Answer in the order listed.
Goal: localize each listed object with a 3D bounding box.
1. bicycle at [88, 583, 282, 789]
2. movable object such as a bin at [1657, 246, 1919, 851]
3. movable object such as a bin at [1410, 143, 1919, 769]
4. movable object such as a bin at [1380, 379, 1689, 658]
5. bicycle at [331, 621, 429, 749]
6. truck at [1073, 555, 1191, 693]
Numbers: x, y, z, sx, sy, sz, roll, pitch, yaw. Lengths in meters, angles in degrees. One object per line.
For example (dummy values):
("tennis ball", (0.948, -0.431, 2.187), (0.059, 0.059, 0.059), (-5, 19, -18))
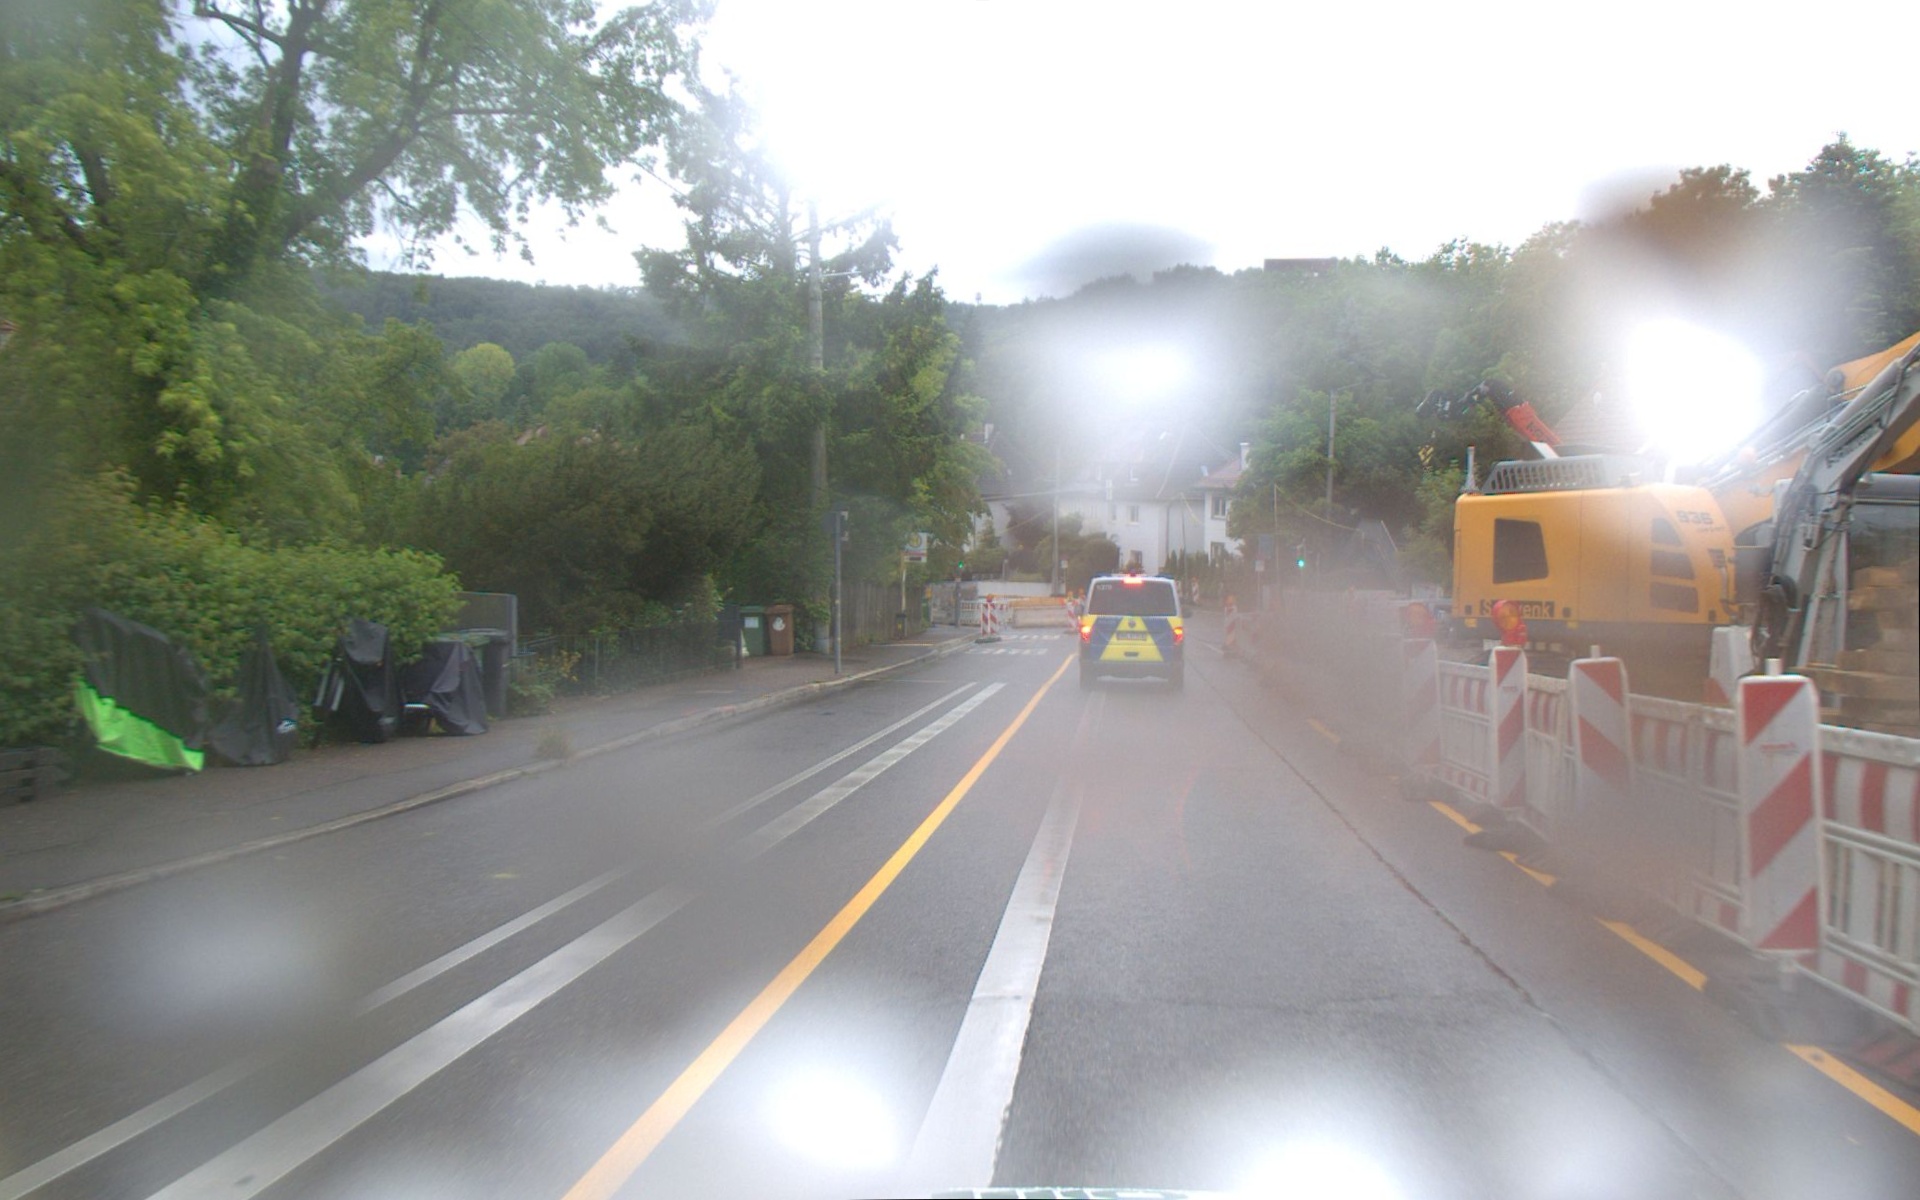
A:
("bicycle", (-5.557, 0.586, 11.972), (0.411, 1.373, 1.744), (1, -1, 6))
("movable object such as a bin", (6.369, -0.218, 10.981), (1.952, 3.363, 3.836), (0, -2, 2))
("movable object such as a bin", (8.854, -1.113, 14.122), (3.025, 5.005, 10.708), (2, -2, -30))
("movable object such as a bin", (14.480, -2.010, 42.132), (6.805, 6.806, 3.046), (0, 0, 2))
("bicycle", (-5.331, 0.763, 15.260), (0.331, 1.127, 1.257), (1, -1, 6))
("truck", (3.164, 0.344, 29.972), (1.951, 2.047, 4.741), (0, 5, 7))
